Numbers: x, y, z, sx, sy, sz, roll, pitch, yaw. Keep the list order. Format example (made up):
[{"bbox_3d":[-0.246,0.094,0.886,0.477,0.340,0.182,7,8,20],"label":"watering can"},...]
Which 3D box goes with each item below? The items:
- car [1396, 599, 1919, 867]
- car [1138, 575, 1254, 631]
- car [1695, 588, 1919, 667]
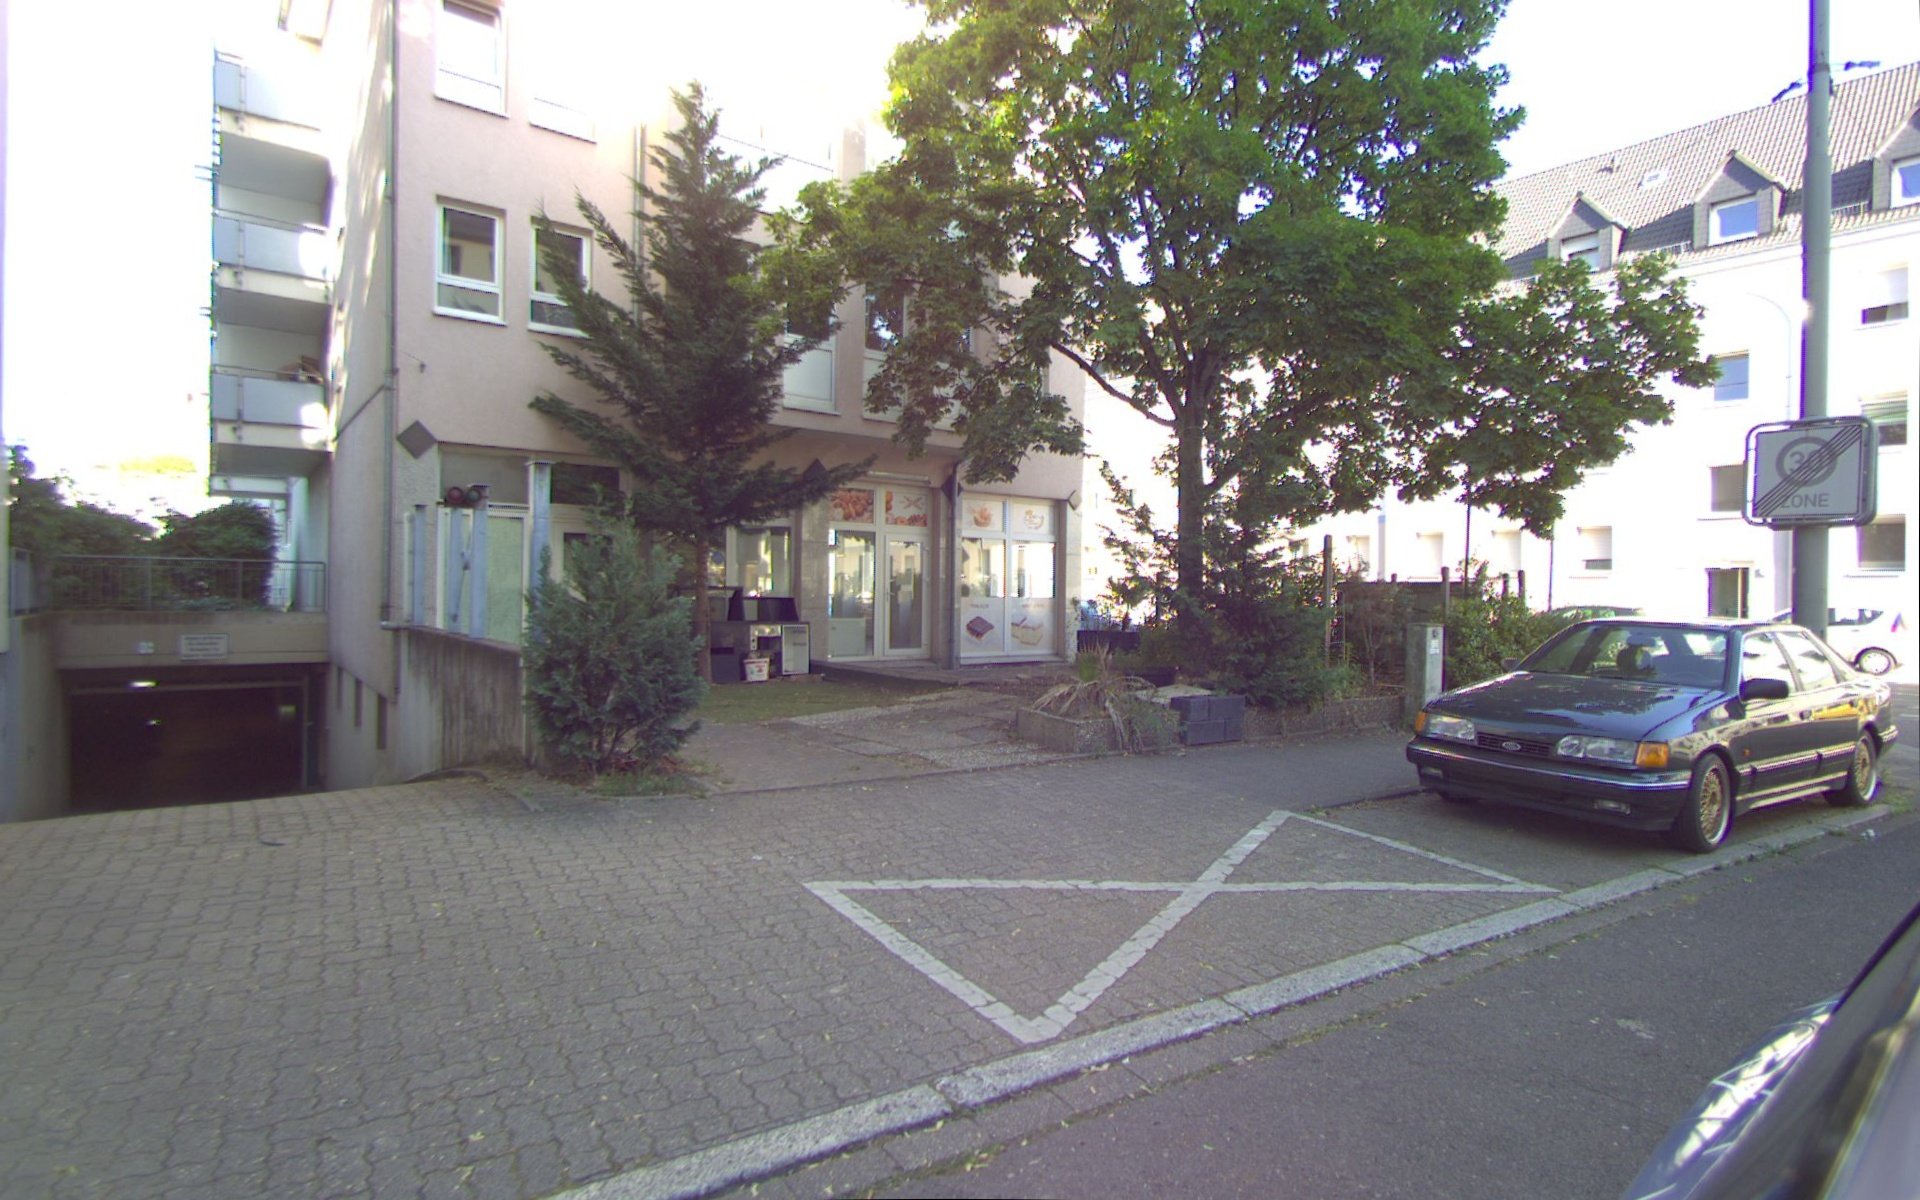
[{"bbox_3d":[5.357,0.728,7.486,4.481,1.405,1.715,0,2,-33],"label":"car"},{"bbox_3d":[8.969,0.057,38.714,1.760,1.995,4.152,-2,2,-37],"label":"car"},{"bbox_3d":[20.198,0.583,24.215,1.729,1.590,3.902,-4,3,-37],"label":"car"}]
